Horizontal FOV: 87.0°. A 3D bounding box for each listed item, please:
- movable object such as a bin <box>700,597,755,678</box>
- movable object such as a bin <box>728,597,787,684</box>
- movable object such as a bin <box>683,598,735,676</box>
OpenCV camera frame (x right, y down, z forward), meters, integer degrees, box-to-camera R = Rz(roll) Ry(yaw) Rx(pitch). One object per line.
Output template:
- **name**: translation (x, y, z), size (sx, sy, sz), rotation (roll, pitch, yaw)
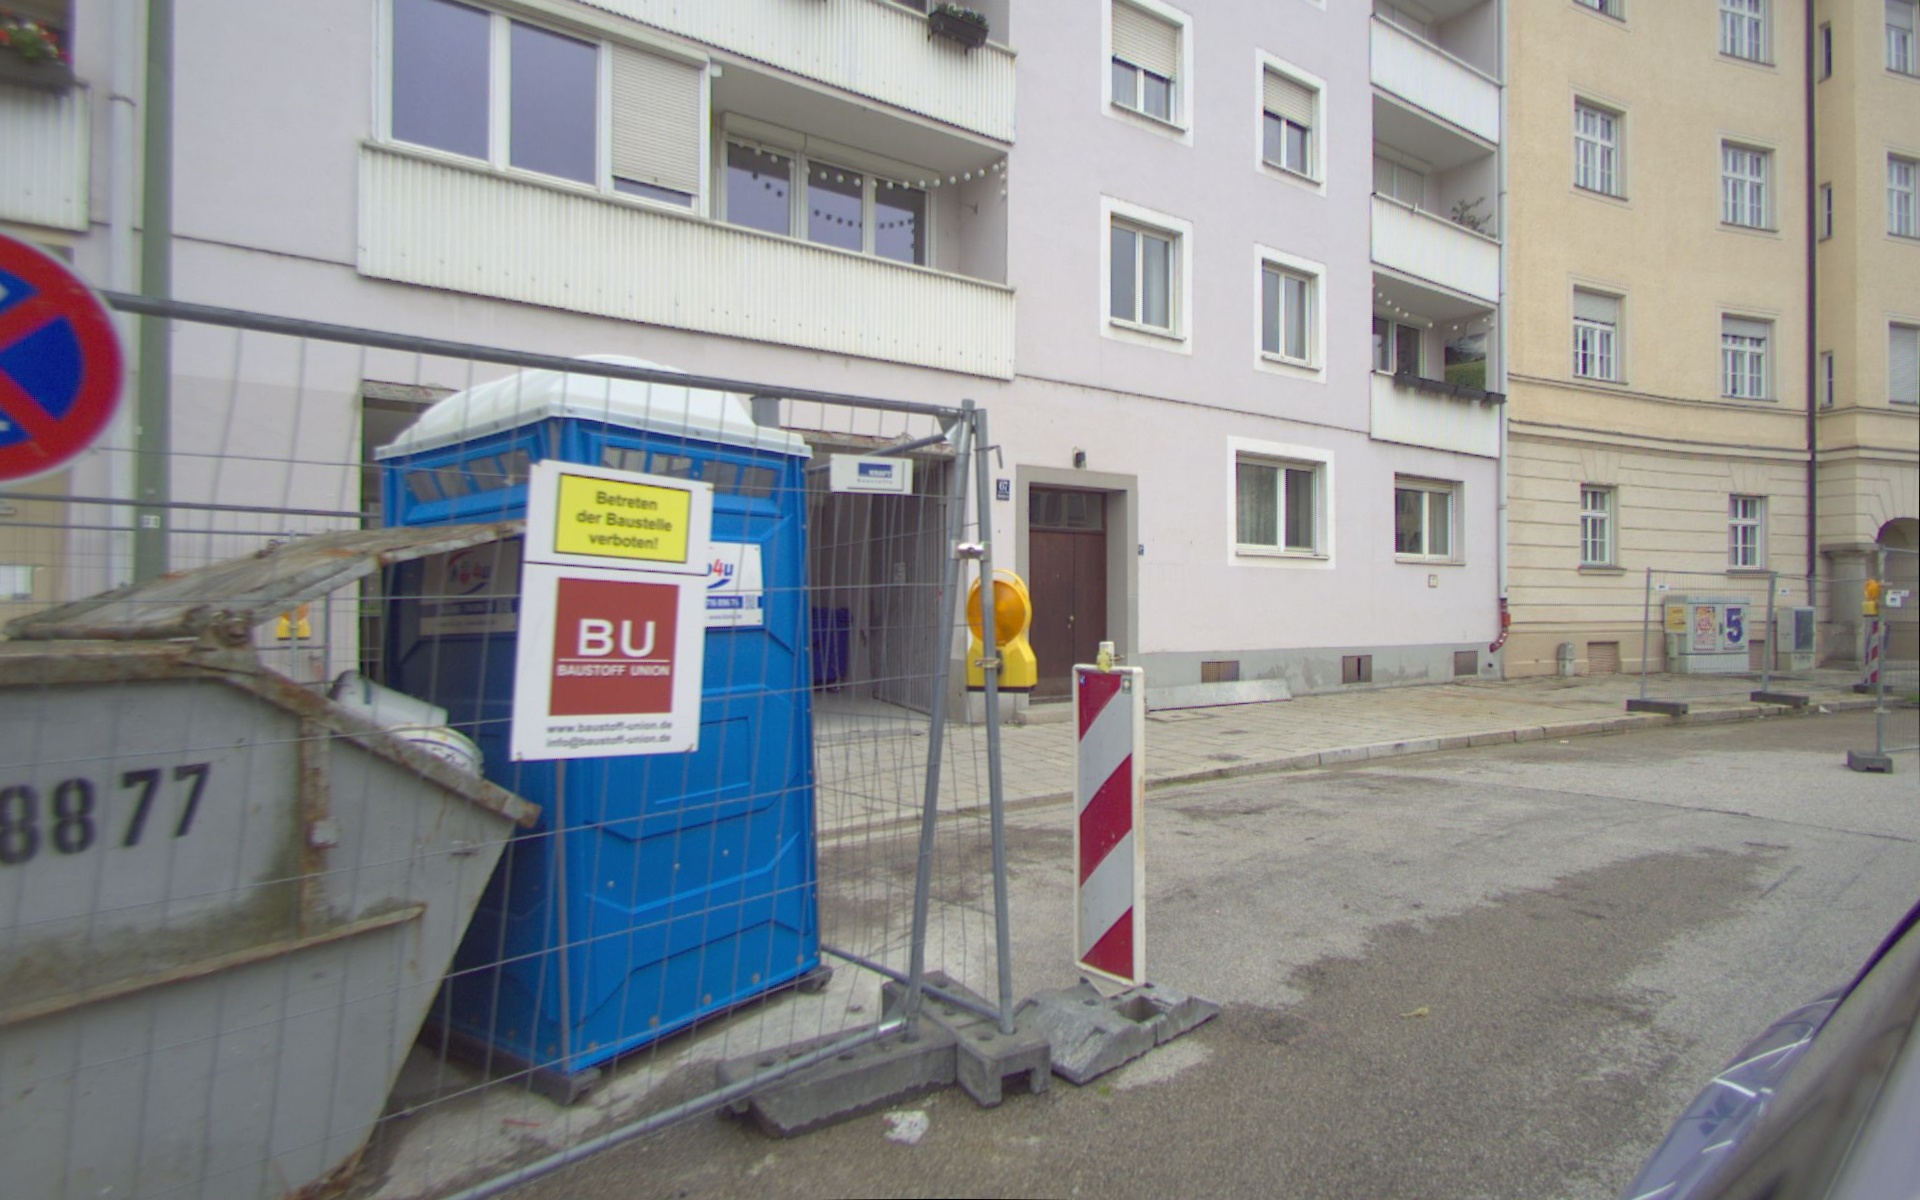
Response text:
- **movable object such as a bin**: translation (-4.196, 0.659, 18.270), size (0.768, 1.426, 0.644), rotation (1, -1, -37)
- **movable object such as a bin**: translation (-3.413, 0.658, 17.075), size (0.768, 1.426, 0.644), rotation (1, -1, -37)
- **movable object such as a bin**: translation (-4.722, 0.676, 19.042), size (0.768, 1.426, 0.644), rotation (1, -1, -37)
